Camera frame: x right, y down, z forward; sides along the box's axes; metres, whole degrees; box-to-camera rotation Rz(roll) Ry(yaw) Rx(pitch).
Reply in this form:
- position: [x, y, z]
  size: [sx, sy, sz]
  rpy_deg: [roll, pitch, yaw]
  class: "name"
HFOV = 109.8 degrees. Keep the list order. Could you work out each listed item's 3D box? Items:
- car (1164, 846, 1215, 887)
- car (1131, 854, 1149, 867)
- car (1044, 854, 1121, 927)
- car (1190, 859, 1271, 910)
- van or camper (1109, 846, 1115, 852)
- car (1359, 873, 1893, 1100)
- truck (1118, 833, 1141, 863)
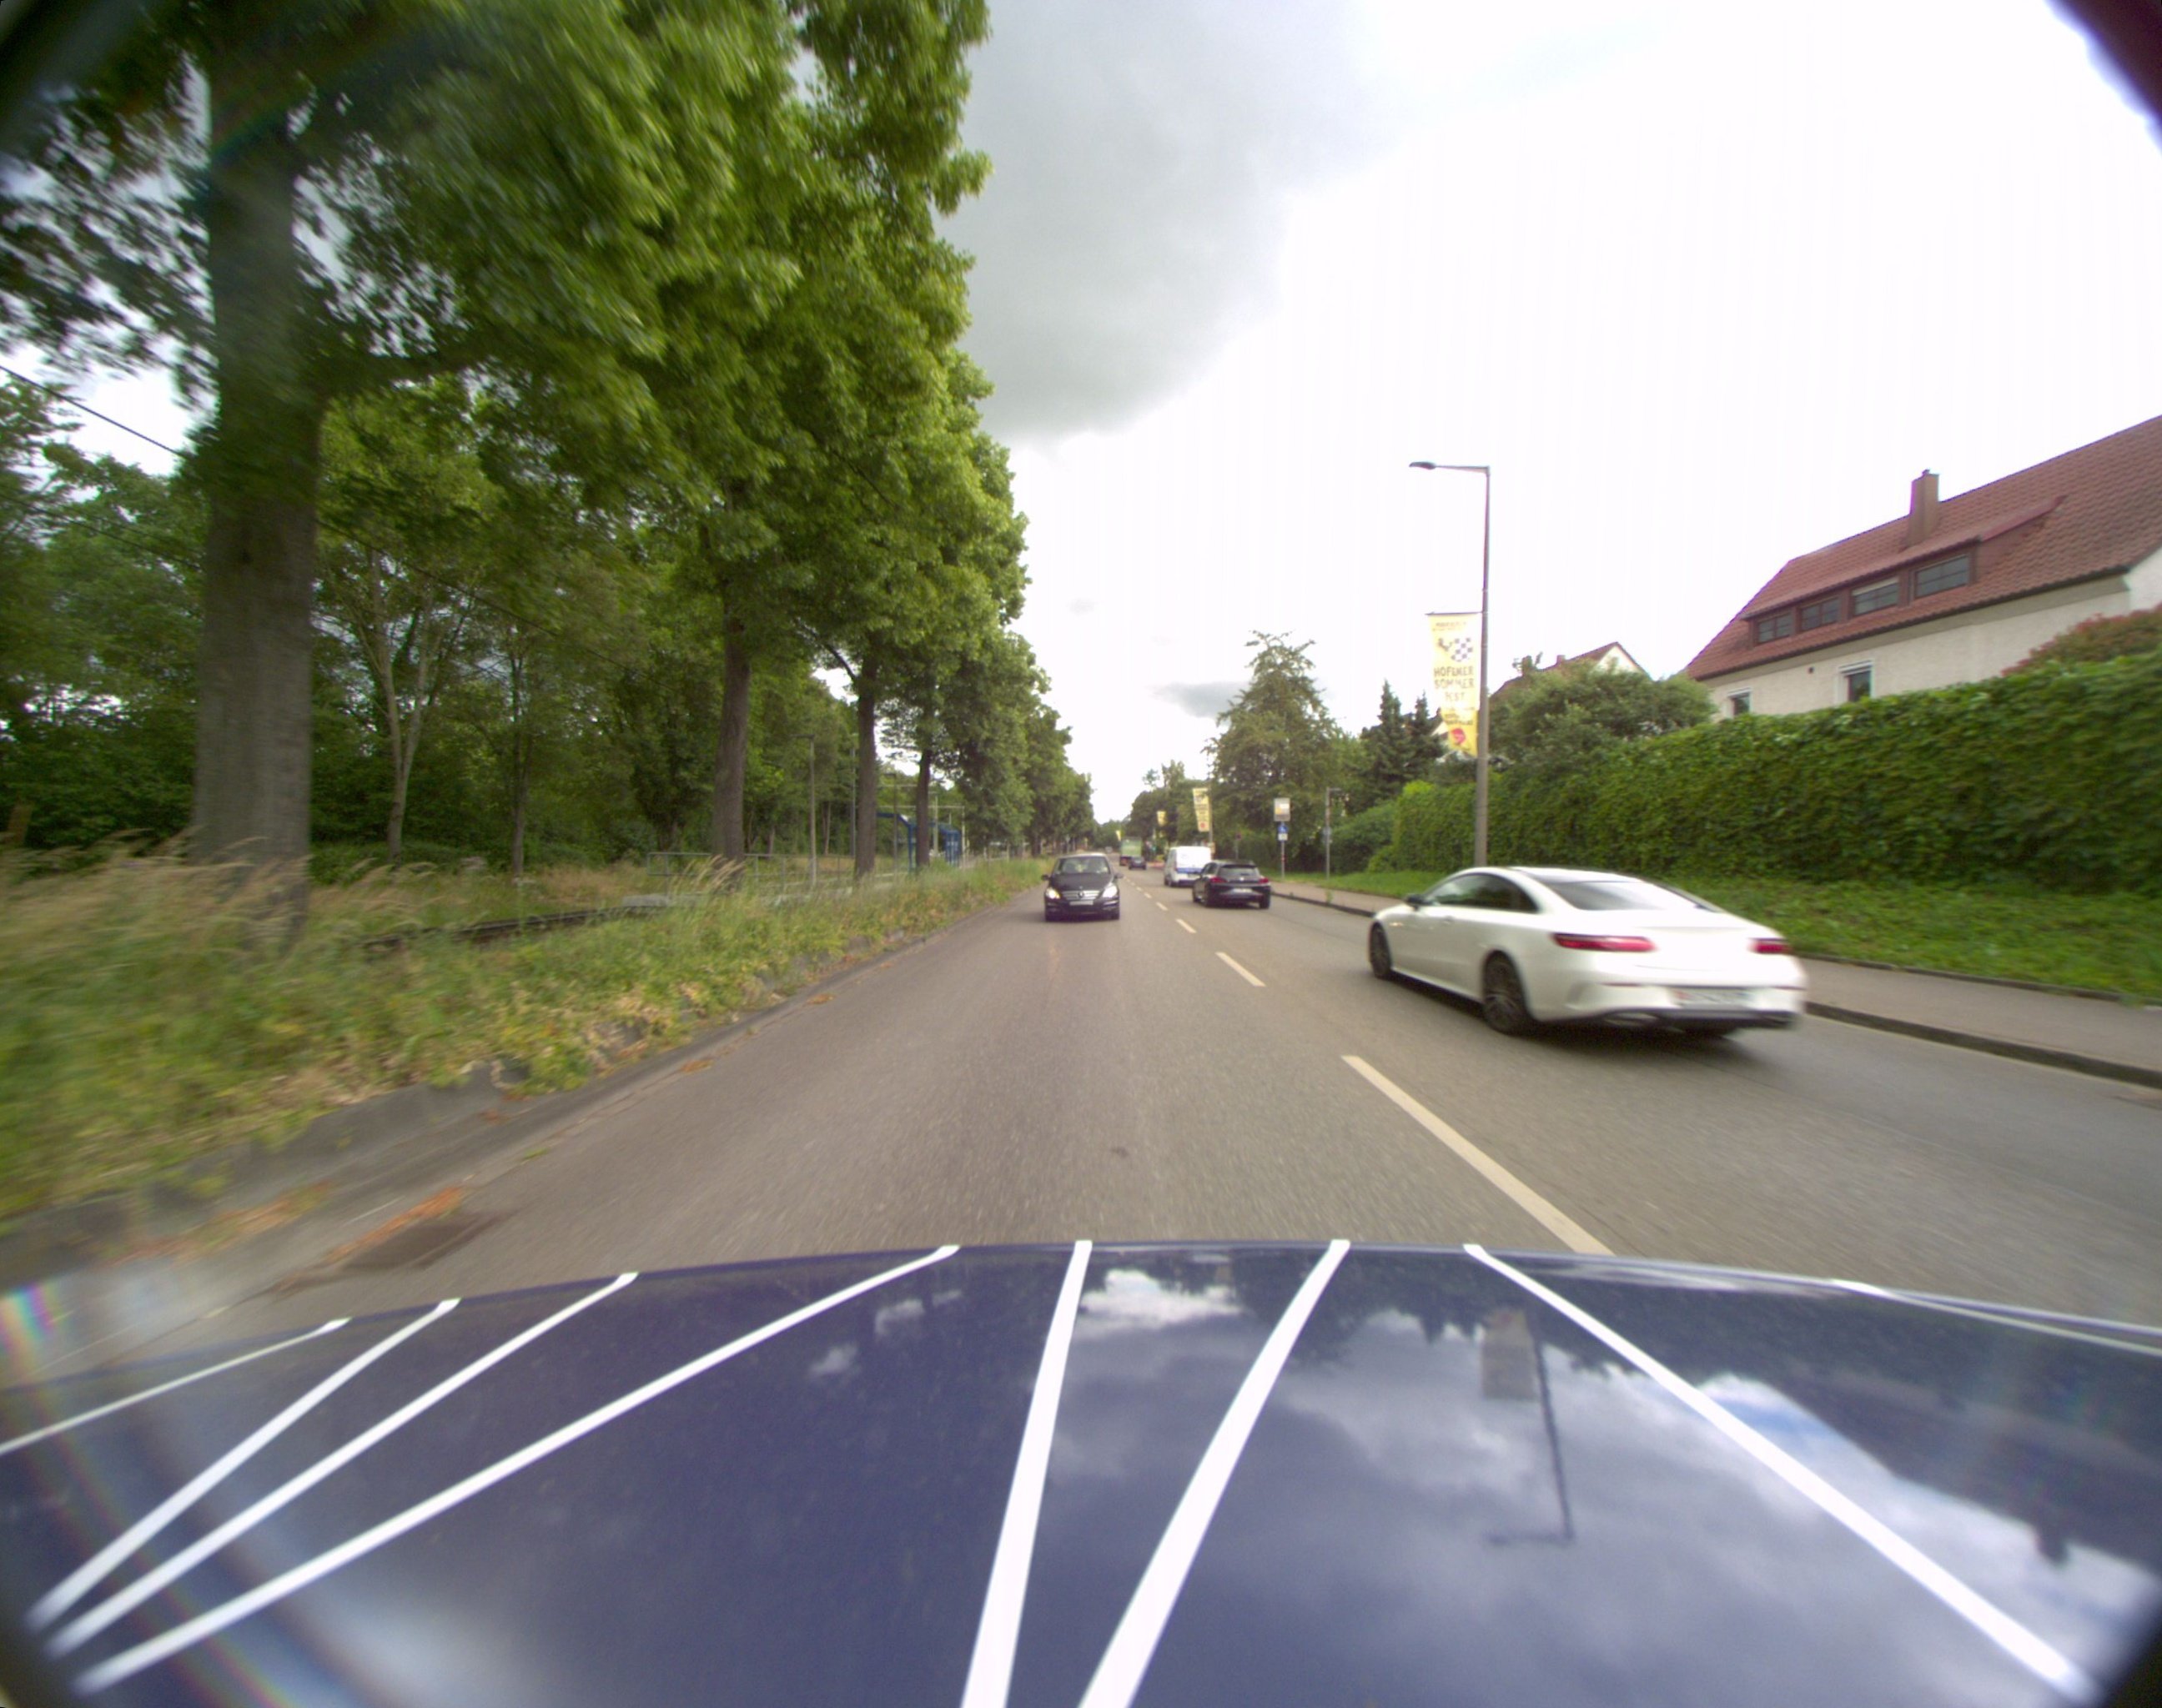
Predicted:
- position: [5.318, 0.556, 37.796]
  size: [1.911, 1.921, 4.911]
  rpy_deg: [0, 0, 1]
  class: "car"
- position: [6.413, 0.705, 82.588]
  size: [1.737, 1.367, 4.239]
  rpy_deg: [0, 0, 1]
  class: "car"
- position: [0.065, 0.822, 19.411]
  size: [1.683, 1.565, 4.482]
  rpy_deg: [-2, 1, 1]
  class: "car"
- position: [4.400, 0.850, 23.007]
  size: [1.654, 1.340, 4.478]
  rpy_deg: [1, 0, 1]
  class: "car"
- position: [9.978, -1.471, 244.154]
  size: [1.917, 1.888, 4.811]
  rpy_deg: [-1, 0, 1]
  class: "van or camper"
- position: [4.438, 0.936, 7.289]
  size: [1.891, 1.375, 4.490]
  rpy_deg: [0, 0, 0]
  class: "car"
- position: [6.842, -0.921, 108.567]
  size: [2.556, 4.020, 10.618]
  rpy_deg: [2, 1, 1]
  class: "truck"
